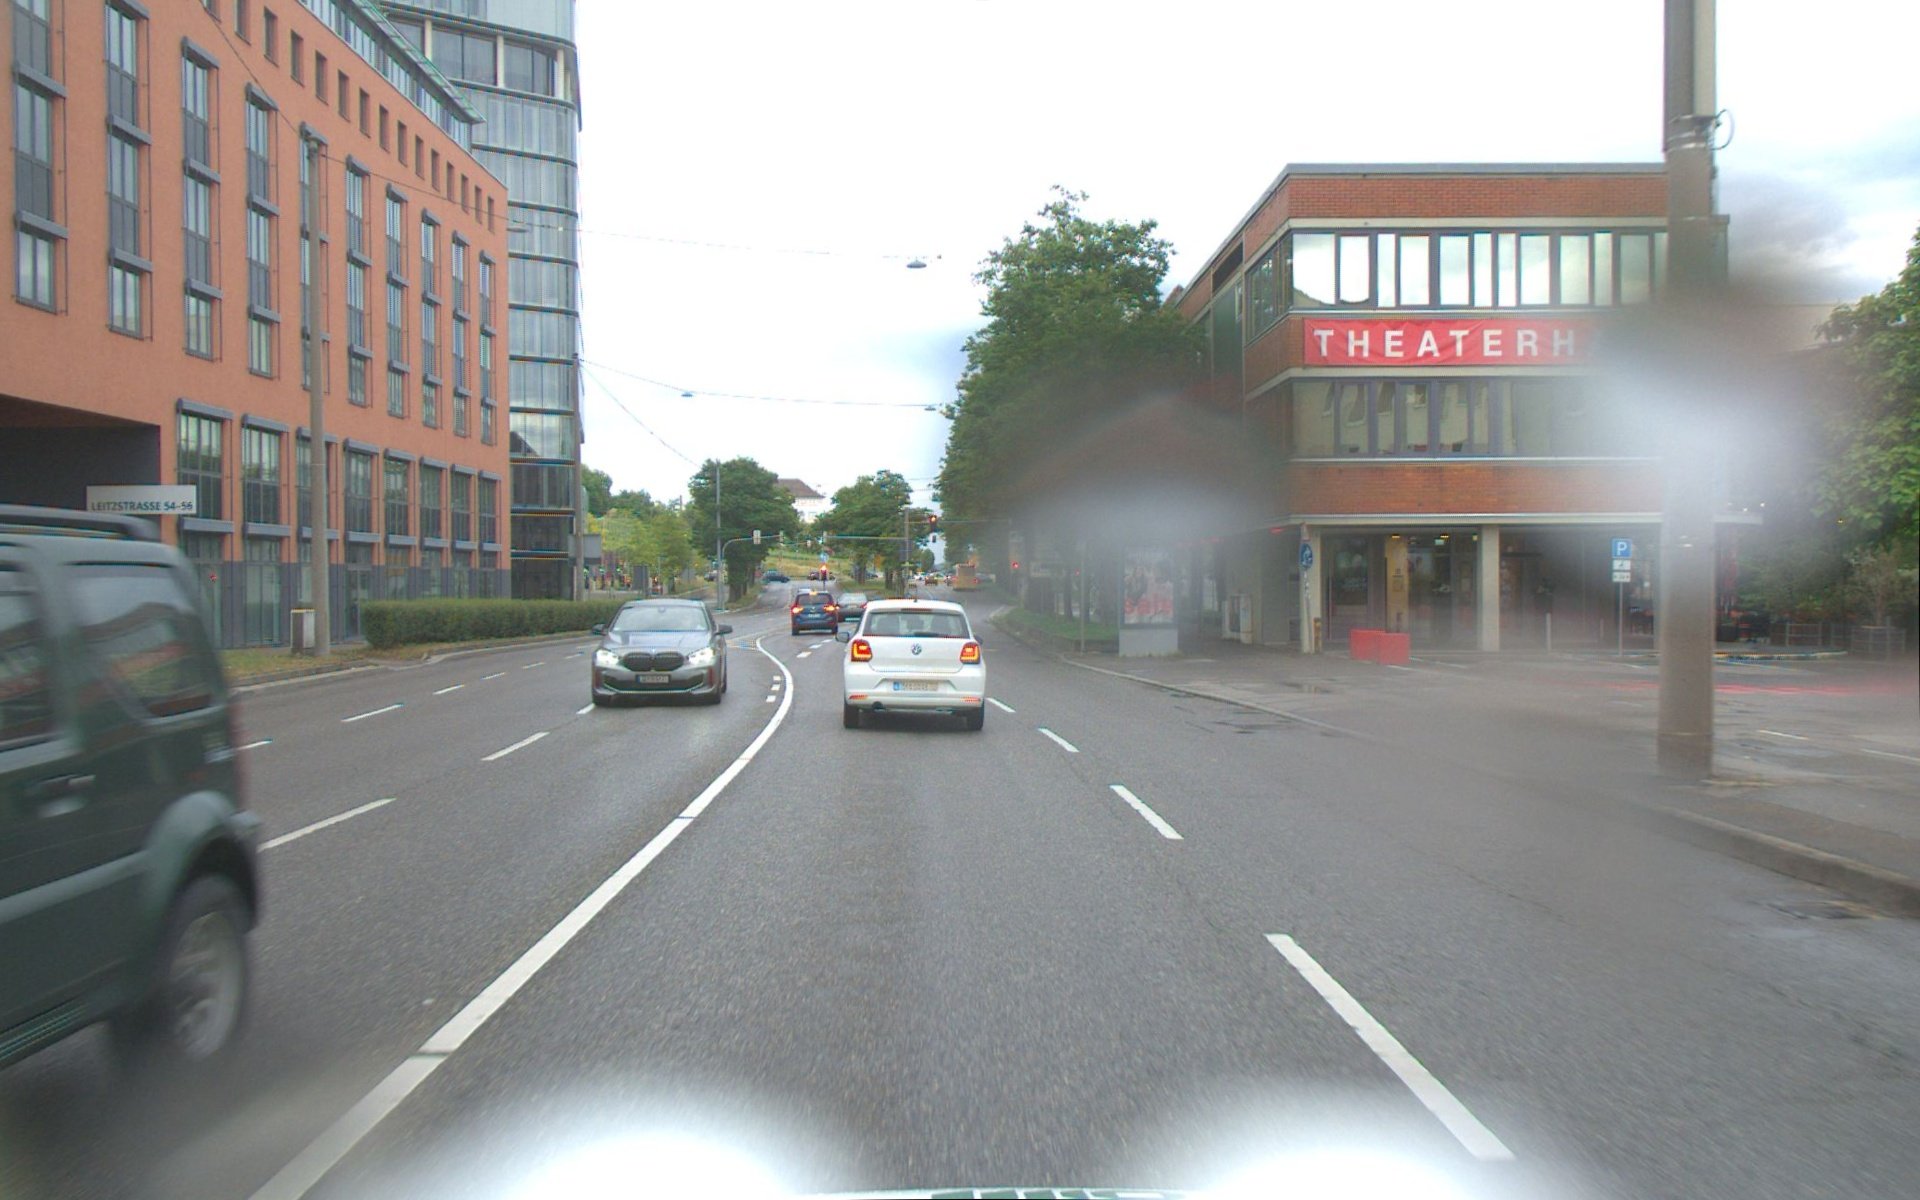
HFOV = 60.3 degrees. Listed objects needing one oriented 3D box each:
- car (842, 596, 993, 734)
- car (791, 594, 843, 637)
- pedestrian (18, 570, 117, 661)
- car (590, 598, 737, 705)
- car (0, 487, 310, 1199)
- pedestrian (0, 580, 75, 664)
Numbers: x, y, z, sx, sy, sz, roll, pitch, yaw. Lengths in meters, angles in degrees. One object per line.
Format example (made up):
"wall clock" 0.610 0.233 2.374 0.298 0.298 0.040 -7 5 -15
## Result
"car" -0.596 0.708 20.076 1.638 1.499 3.776 0 0 -4
"car" -5.577 0.564 64.390 1.955 1.601 3.995 -1 0 -5
"pedestrian" -19.140 0.338 35.513 1.289 1.855 1.438 -3 -2 -1
"car" -4.251 0.695 24.229 1.678 1.389 3.996 -1 0 -4
"car" -2.909 0.600 3.808 1.472 1.695 3.419 -1 2 -1
"pedestrian" -19.945 0.484 35.412 1.182 1.708 1.419 -3 -2 -1
